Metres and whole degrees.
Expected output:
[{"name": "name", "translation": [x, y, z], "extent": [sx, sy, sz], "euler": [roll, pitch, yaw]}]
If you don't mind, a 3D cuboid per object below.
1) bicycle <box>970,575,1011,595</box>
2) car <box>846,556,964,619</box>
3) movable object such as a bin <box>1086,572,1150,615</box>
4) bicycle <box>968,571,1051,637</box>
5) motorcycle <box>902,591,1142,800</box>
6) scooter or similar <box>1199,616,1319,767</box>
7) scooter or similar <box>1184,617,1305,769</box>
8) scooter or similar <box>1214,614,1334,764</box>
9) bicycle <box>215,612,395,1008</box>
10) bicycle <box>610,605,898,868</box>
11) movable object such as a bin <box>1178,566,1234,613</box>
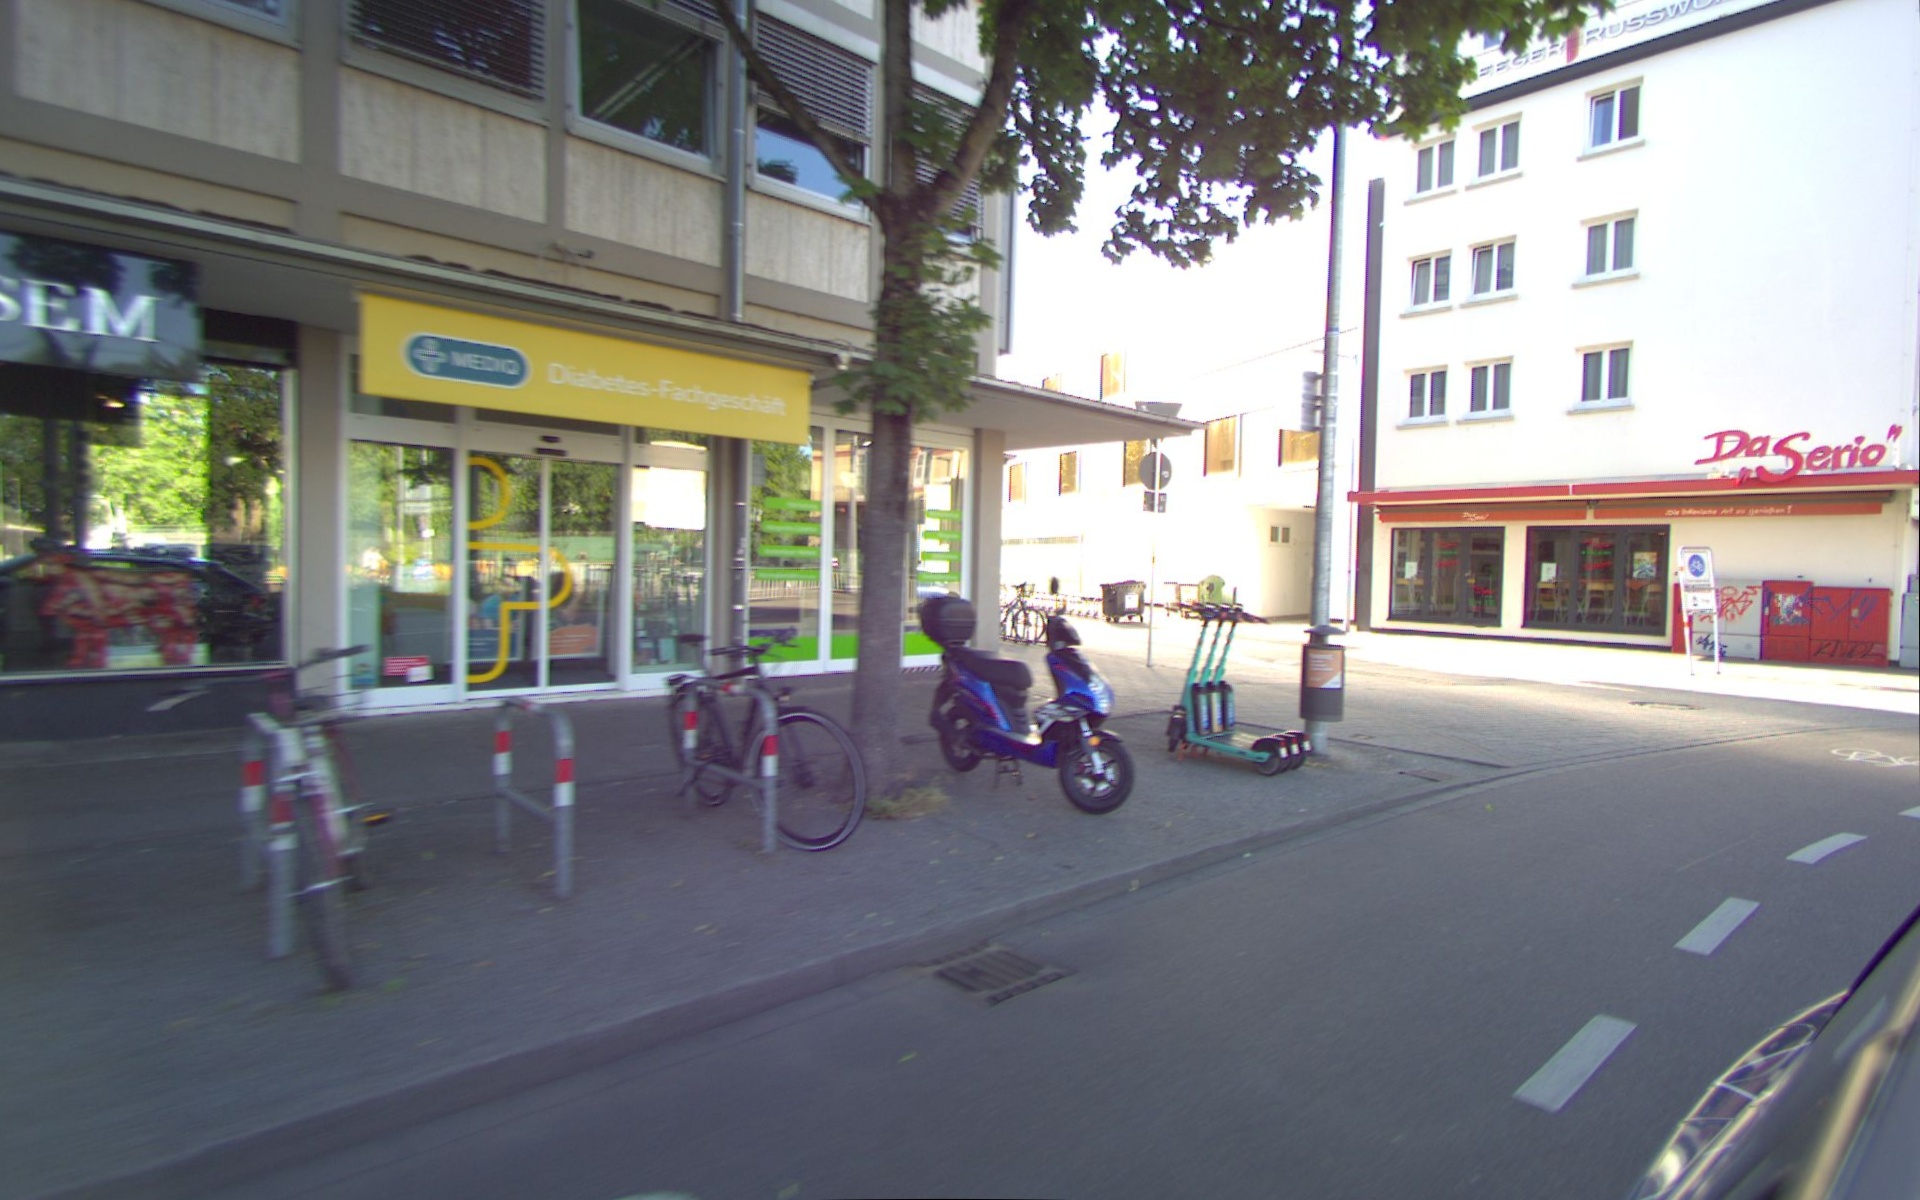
[{"name": "bicycle", "translation": [1.344, -0.681, 45.055], "extent": [1.769, 0.842, 0.441], "euler": [-2, 2, -18]}, {"name": "car", "translation": [-1.615, -0.393, 27.604], "extent": [1.842, 1.450, 4.839], "euler": [3, 1, -20]}, {"name": "movable object such as a bin", "translation": [4.999, -0.237, 32.125], "extent": [1.388, 1.305, 1.654], "euler": [0, 2, -20]}, {"name": "bicycle", "translation": [0.941, 0.078, 19.488], "extent": [1.471, 1.175, 0.443], "euler": [4, 0, -8]}, {"name": "motorcycle", "translation": [0.343, 0.542, 6.665], "extent": [0.495, 1.143, 1.791], "euler": [-1, 2, -39]}, {"name": "scooter or similar", "translation": [2.295, 0.675, 7.833], "extent": [0.157, 1.052, 0.959], "euler": [0, 2, -37]}, {"name": "scooter or similar", "translation": [2.144, 0.678, 7.707], "extent": [0.157, 1.039, 0.967], "euler": [0, 3, -37]}, {"name": "scooter or similar", "translation": [2.449, 0.666, 7.953], "extent": [0.157, 1.056, 0.967], "euler": [0, 3, -37]}, {"name": "bicycle", "translation": [-2.483, 0.624, 3.807], "extent": [0.449, 1.070, 1.773], "euler": [-1, 2, -35]}, {"name": "bicycle", "translation": [-1.147, 0.623, 5.310], "extent": [1.848, 1.069, 0.394], "euler": [4, 4, 39]}, {"name": "movable object such as a bin", "translation": [7.852, -0.360, 32.374], "extent": [1.255, 1.458, 1.223], "euler": [0, 2, -20]}]
